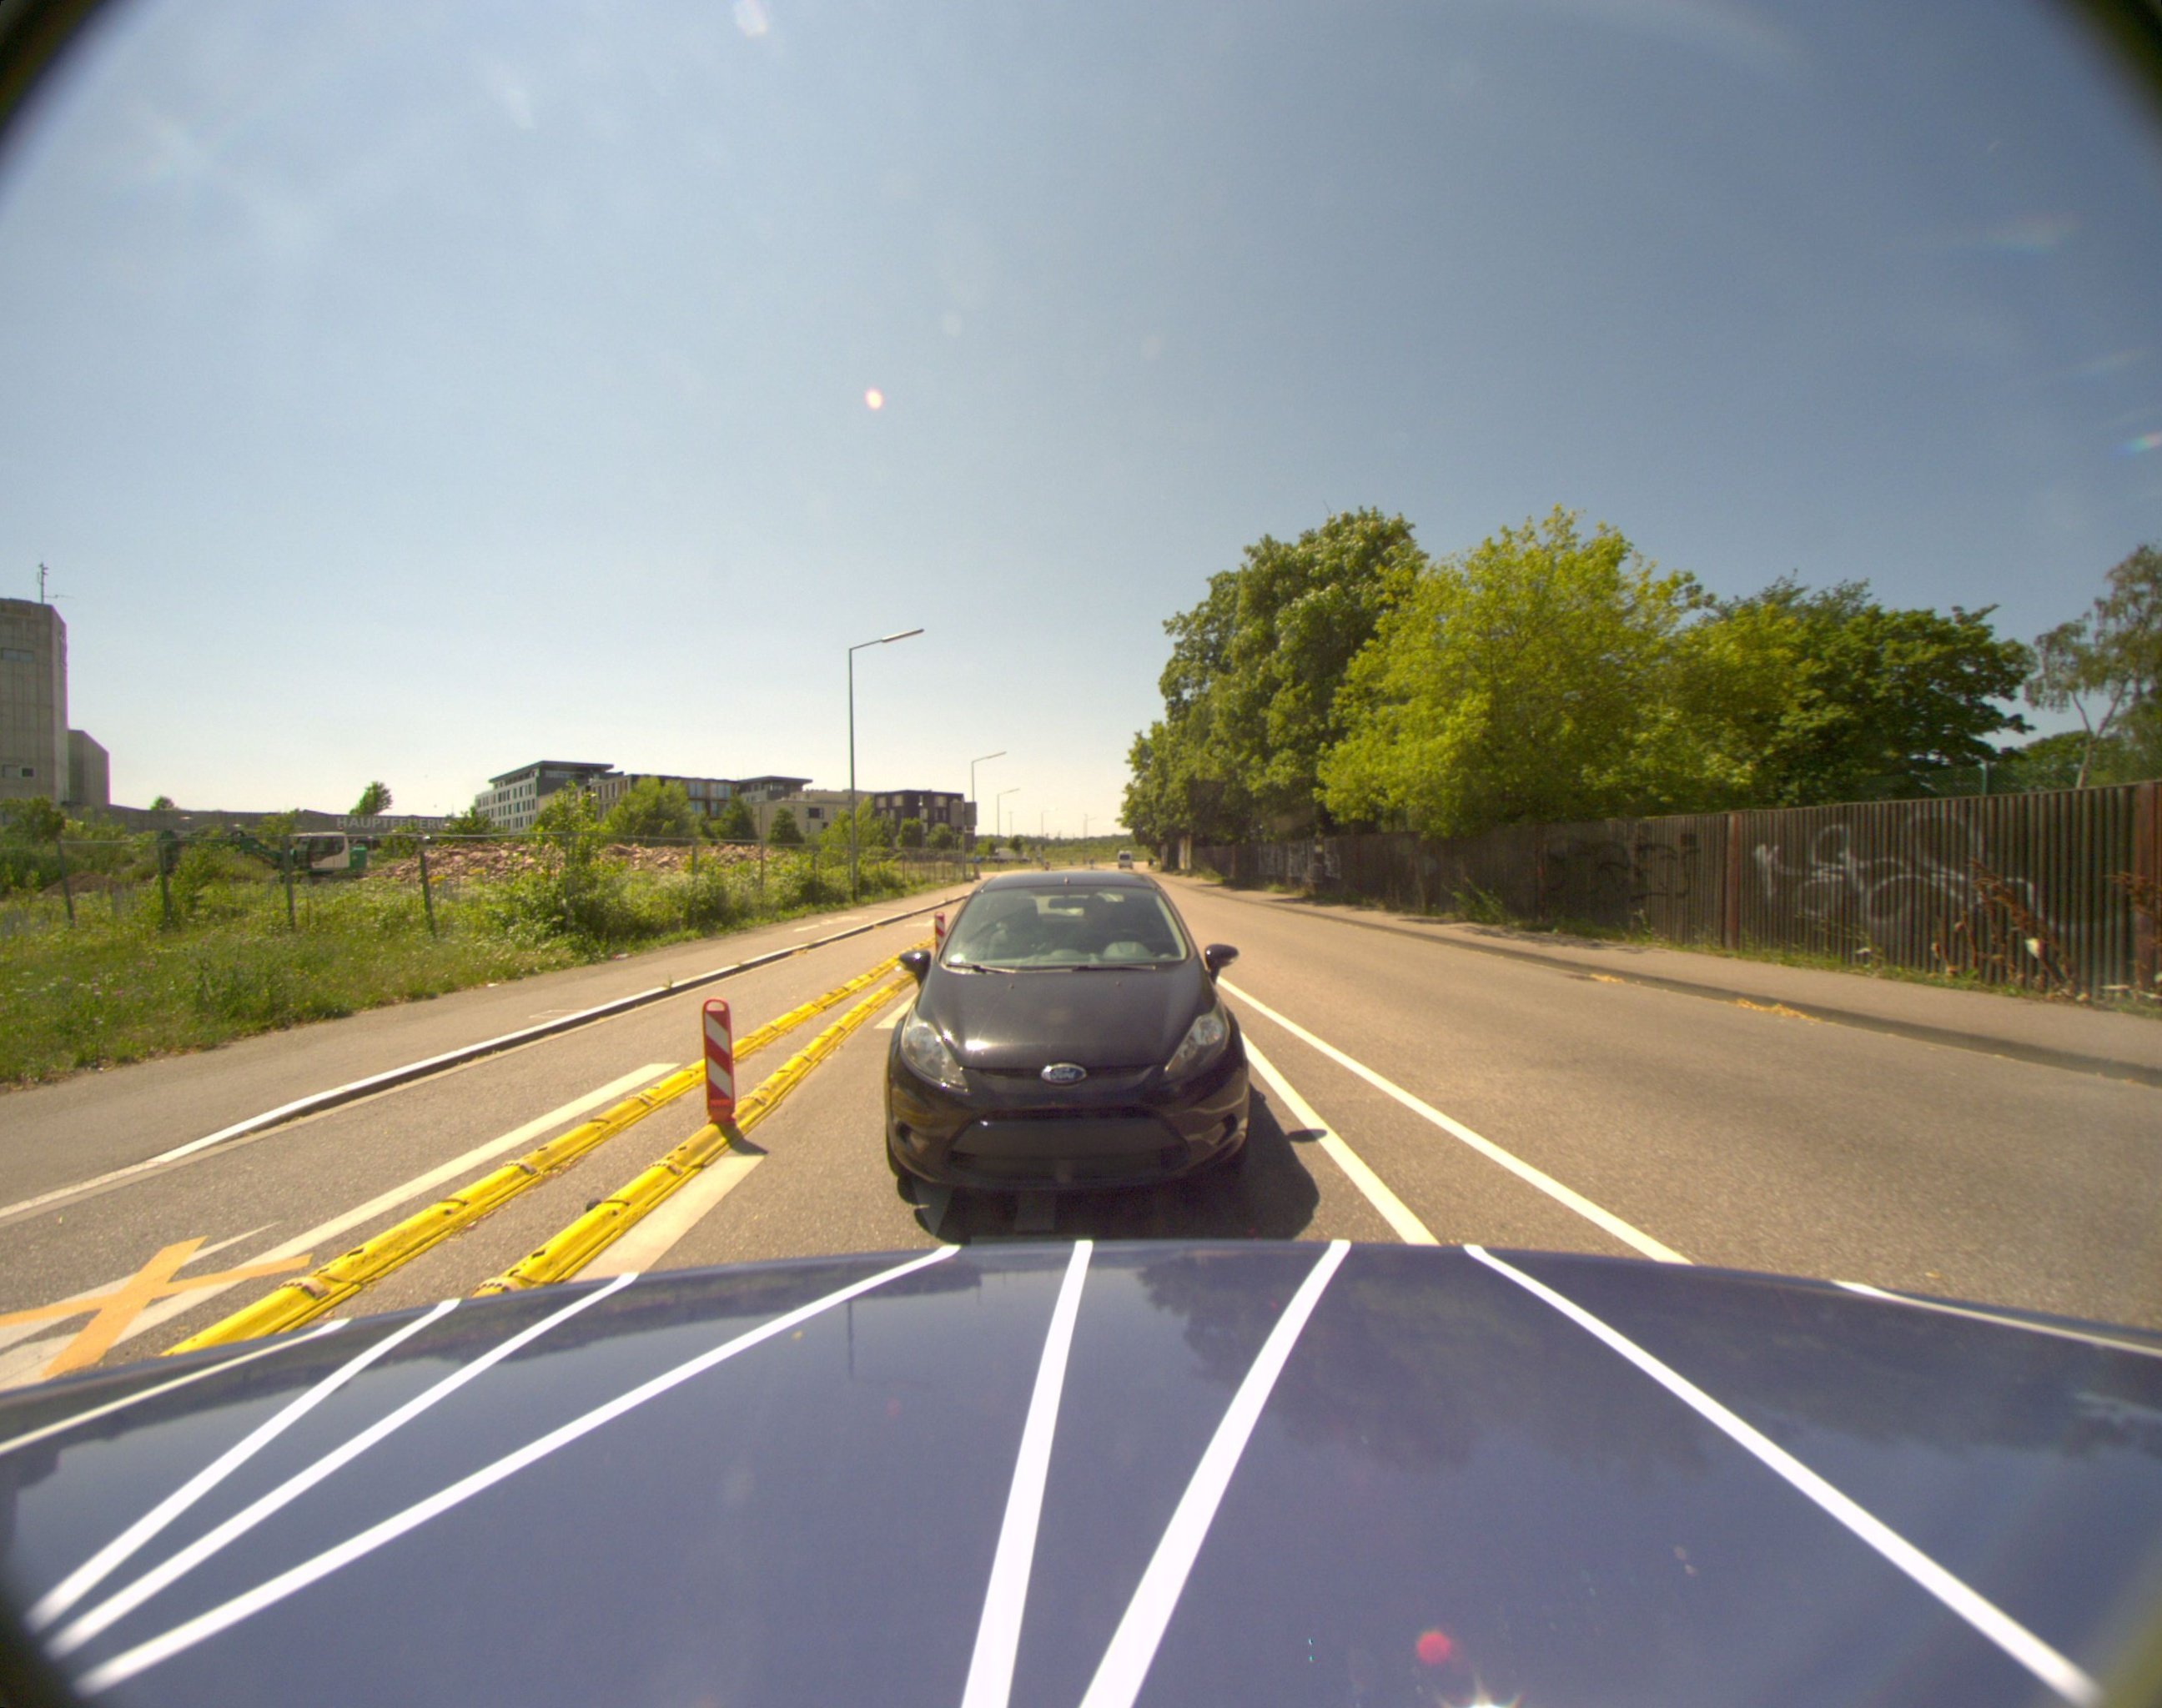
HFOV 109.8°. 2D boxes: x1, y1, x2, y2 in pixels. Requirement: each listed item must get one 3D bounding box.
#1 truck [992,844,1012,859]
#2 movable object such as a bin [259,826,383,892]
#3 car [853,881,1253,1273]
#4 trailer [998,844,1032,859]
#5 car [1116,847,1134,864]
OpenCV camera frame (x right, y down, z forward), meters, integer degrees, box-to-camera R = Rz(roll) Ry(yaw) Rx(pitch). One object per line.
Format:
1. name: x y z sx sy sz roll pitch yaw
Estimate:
1. truck: -17.875 -0.643 171.692 4.008 3.316 1.994 -1 1 -45
2. movable object such as a bin: -37.623 0.233 37.771 2.204 3.045 3.690 -2 1 6
3. car: -0.095 0.991 5.119 1.602 1.422 4.000 -2 0 1
4. trailer: -15.118 -0.645 174.432 8.194 3.329 1.994 -1 0 -45
5. car: 6.687 0.248 115.234 2.025 2.524 6.825 0 0 -2
